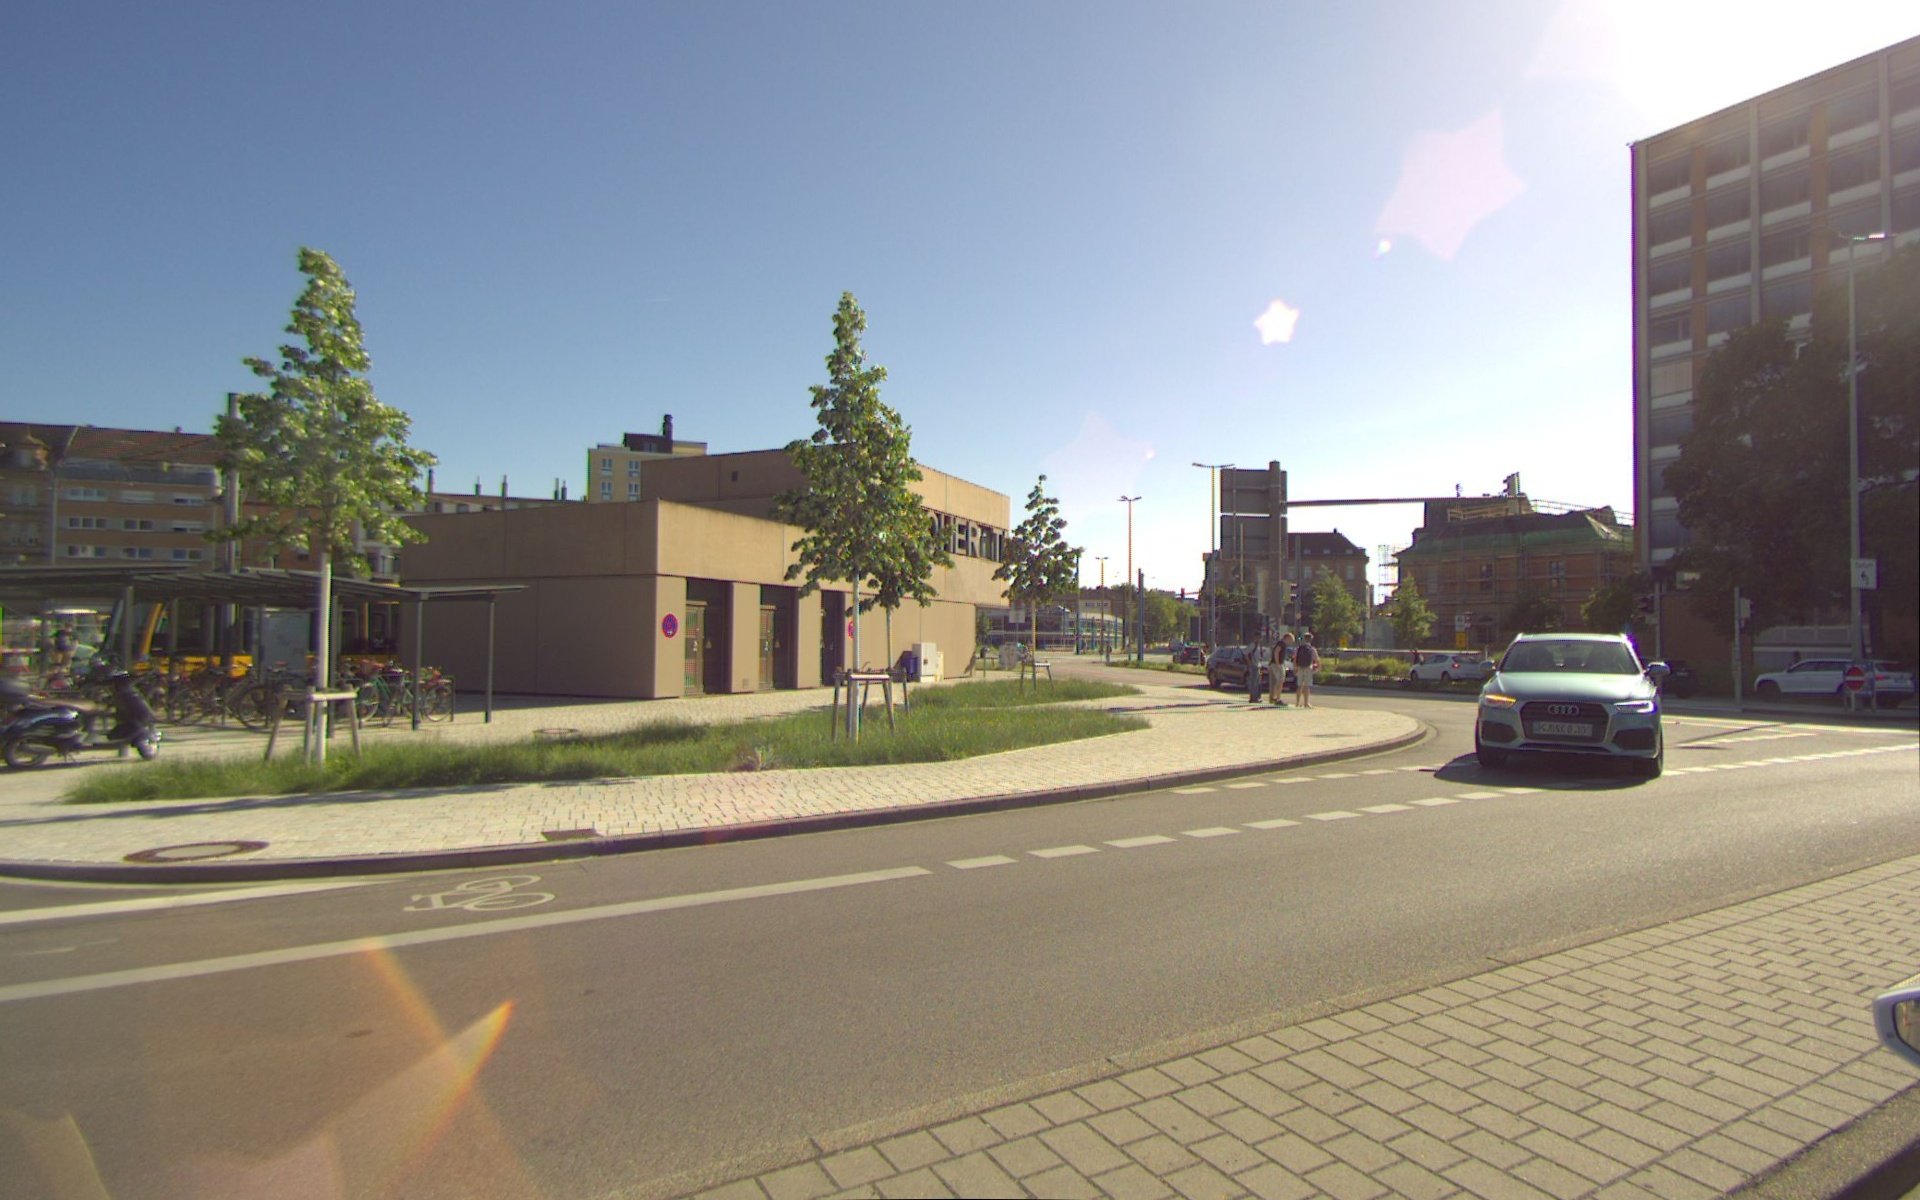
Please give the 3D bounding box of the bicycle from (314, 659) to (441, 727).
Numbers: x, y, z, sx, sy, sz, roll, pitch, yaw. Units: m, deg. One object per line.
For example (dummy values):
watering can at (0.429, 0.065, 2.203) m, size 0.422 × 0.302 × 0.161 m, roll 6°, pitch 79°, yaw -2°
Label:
bicycle at (-10.799, 1.687, 18.703) m, size 0.594 × 1.093 × 2.053 m, roll 2°, pitch 0°, yaw 25°

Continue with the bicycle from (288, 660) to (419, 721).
bicycle at (-11.764, 1.736, 19.576) m, size 0.679 × 1.011 × 2.140 m, roll 2°, pitch 0°, yaw 26°

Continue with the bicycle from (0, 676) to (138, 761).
bicycle at (-12.204, 1.577, 13.583) m, size 0.399 × 0.985 × 1.683 m, roll 2°, pitch 0°, yaw 22°

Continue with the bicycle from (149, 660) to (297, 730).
bicycle at (-12.900, 1.633, 17.661) m, size 0.524 × 1.051 × 2.070 m, roll 2°, pitch 0°, yaw 26°

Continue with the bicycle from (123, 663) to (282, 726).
bicycle at (-13.711, 1.681, 18.266) m, size 0.673 × 0.956 × 2.233 m, roll 2°, pitch 0°, yaw 25°

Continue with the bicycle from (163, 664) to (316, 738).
bicycle at (-11.995, 1.657, 16.807) m, size 0.524 × 1.051 × 2.070 m, roll 2°, pitch 0°, yaw 26°

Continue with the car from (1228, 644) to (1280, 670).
car at (20.211, 3.897, 69.226) m, size 1.810 × 1.653 × 4.382 m, roll 1°, pitch -2°, yaw -8°

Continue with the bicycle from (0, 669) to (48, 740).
bicycle at (-14.202, 1.529, 14.380) m, size 0.399 × 0.985 × 1.683 m, roll 2°, pitch 0°, yaw 22°

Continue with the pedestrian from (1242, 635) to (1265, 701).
pedestrian at (7.907, 1.827, 27.062) m, size 0.585 × 1.751 × 0.580 m, roll 0°, pitch -2°, yaw 14°

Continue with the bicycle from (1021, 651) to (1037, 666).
bicycle at (4.784, 4.069, 69.575) m, size 0.727 × 1.008 × 1.989 m, roll 1°, pitch -4°, yaw -8°

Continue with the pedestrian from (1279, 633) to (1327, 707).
pedestrian at (8.171, 1.682, 23.931) m, size 0.783 × 1.711 × 0.785 m, roll 5°, pitch -6°, yaw -41°

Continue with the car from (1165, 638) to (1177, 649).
car at (40.353, 8.294, 191.910) m, size 1.959 × 2.040 × 4.003 m, roll 0°, pitch -2°, yaw 7°

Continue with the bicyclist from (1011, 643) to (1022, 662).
bicyclist at (4.368, 4.040, 77.526) m, size 0.674 × 1.440 × 1.127 m, roll 1°, pitch -4°, yaw -6°

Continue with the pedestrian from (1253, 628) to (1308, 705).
pedestrian at (7.879, 1.642, 24.742) m, size 1.083 × 1.822 × 0.704 m, roll 2°, pitch -5°, yaw -11°

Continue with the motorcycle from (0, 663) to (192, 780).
motorcycle at (-10.851, 1.451, 12.481) m, size 0.558 × 1.235 × 2.087 m, roll 0°, pitch -1°, yaw 21°

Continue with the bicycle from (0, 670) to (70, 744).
bicycle at (-13.698, 1.535, 14.178) m, size 0.399 × 0.985 × 1.683 m, roll 2°, pitch 0°, yaw 22°

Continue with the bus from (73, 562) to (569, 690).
bus at (-18.493, 0.871, 31.235) m, size 2.810 × 3.112 × 13.620 m, roll 0°, pitch -2°, yaw 25°

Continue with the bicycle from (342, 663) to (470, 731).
bicycle at (-9.969, 1.725, 18.166) m, size 0.524 × 1.051 × 2.070 m, roll 2°, pitch 0°, yaw 26°

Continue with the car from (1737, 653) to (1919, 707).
car at (30.506, 2.757, 35.448) m, size 1.813 × 1.653 × 4.827 m, roll 1°, pitch -2°, yaw -13°

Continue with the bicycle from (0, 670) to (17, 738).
bicycle at (-14.720, 1.545, 14.430) m, size 0.399 × 0.985 × 1.683 m, roll 2°, pitch 0°, yaw 22°

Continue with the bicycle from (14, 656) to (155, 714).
bicycle at (-17.773, 1.701, 20.461) m, size 0.524 × 1.051 × 2.070 m, roll 5°, pitch 0°, yaw 26°

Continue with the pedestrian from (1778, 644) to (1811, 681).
pedestrian at (36.390, 2.725, 43.807) m, size 0.550 × 1.591 × 0.861 m, roll 0°, pitch -4°, yaw -13°

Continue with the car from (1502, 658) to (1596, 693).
car at (27.587, 3.522, 47.199) m, size 1.712 × 1.454 × 3.842 m, roll 3°, pitch -2°, yaw -11°

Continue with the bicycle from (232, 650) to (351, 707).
bicycle at (-13.919, 1.619, 20.997) m, size 0.524 × 1.051 × 2.070 m, roll 2°, pitch 0°, yaw 26°

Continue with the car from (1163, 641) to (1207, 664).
car at (16.816, 3.922, 75.239) m, size 1.810 × 1.653 × 4.383 m, roll 1°, pitch -2°, yaw -7°

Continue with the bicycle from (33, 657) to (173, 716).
bicycle at (-16.885, 1.681, 19.853) m, size 0.524 × 1.051 × 2.070 m, roll -2°, pitch -2°, yaw 26°

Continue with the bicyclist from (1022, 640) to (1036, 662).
bicyclist at (4.783, 3.522, 69.600) m, size 0.727 × 1.519 × 1.071 m, roll 1°, pitch -3°, yaw -7°

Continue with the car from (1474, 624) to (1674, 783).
car at (7.566, 1.169, 12.451) m, size 1.763 × 1.602 × 4.248 m, roll -2°, pitch -4°, yaw 32°

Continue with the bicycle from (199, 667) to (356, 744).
bicycle at (-10.905, 1.653, 16.138) m, size 0.524 × 1.051 × 2.070 m, roll 2°, pitch 0°, yaw 26°

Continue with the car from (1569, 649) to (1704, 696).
car at (26.364, 2.798, 39.332) m, size 1.812 × 1.653 × 4.377 m, roll 1°, pitch -2°, yaw -13°

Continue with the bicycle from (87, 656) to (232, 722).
bicycle at (-15.018, 1.644, 18.910) m, size 0.524 × 1.051 × 2.070 m, roll 5°, pitch 1°, yaw 26°

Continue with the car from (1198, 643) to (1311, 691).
car at (10.006, 2.295, 34.517) m, size 1.787 × 1.524 × 4.778 m, roll 0°, pitch -4°, yaw -10°

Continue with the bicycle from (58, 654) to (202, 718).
bicycle at (-15.904, 1.627, 19.325) m, size 0.524 × 1.051 × 2.070 m, roll 5°, pitch 1°, yaw 26°

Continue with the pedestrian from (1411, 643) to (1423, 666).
pedestrian at (32.777, 3.909, 72.083) m, size 0.636 × 1.637 × 0.548 m, roll 0°, pitch -2°, yaw 10°

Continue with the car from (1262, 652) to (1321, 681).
car at (20.698, 4.138, 62.892) m, size 1.810 × 1.653 × 4.382 m, roll 1°, pitch -2°, yaw -8°

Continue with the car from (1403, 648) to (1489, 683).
car at (22.465, 3.009, 46.567) m, size 1.711 × 1.454 × 3.842 m, roll 1°, pitch -2°, yaw -10°

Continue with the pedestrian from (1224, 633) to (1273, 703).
pedestrian at (7.327, 1.734, 25.512) m, size 0.831 × 1.711 × 0.896 m, roll 5°, pitch -5°, yaw -34°

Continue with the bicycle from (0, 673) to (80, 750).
bicycle at (-13.232, 1.547, 13.817) m, size 0.399 × 0.985 × 1.683 m, roll 2°, pitch 0°, yaw 22°
